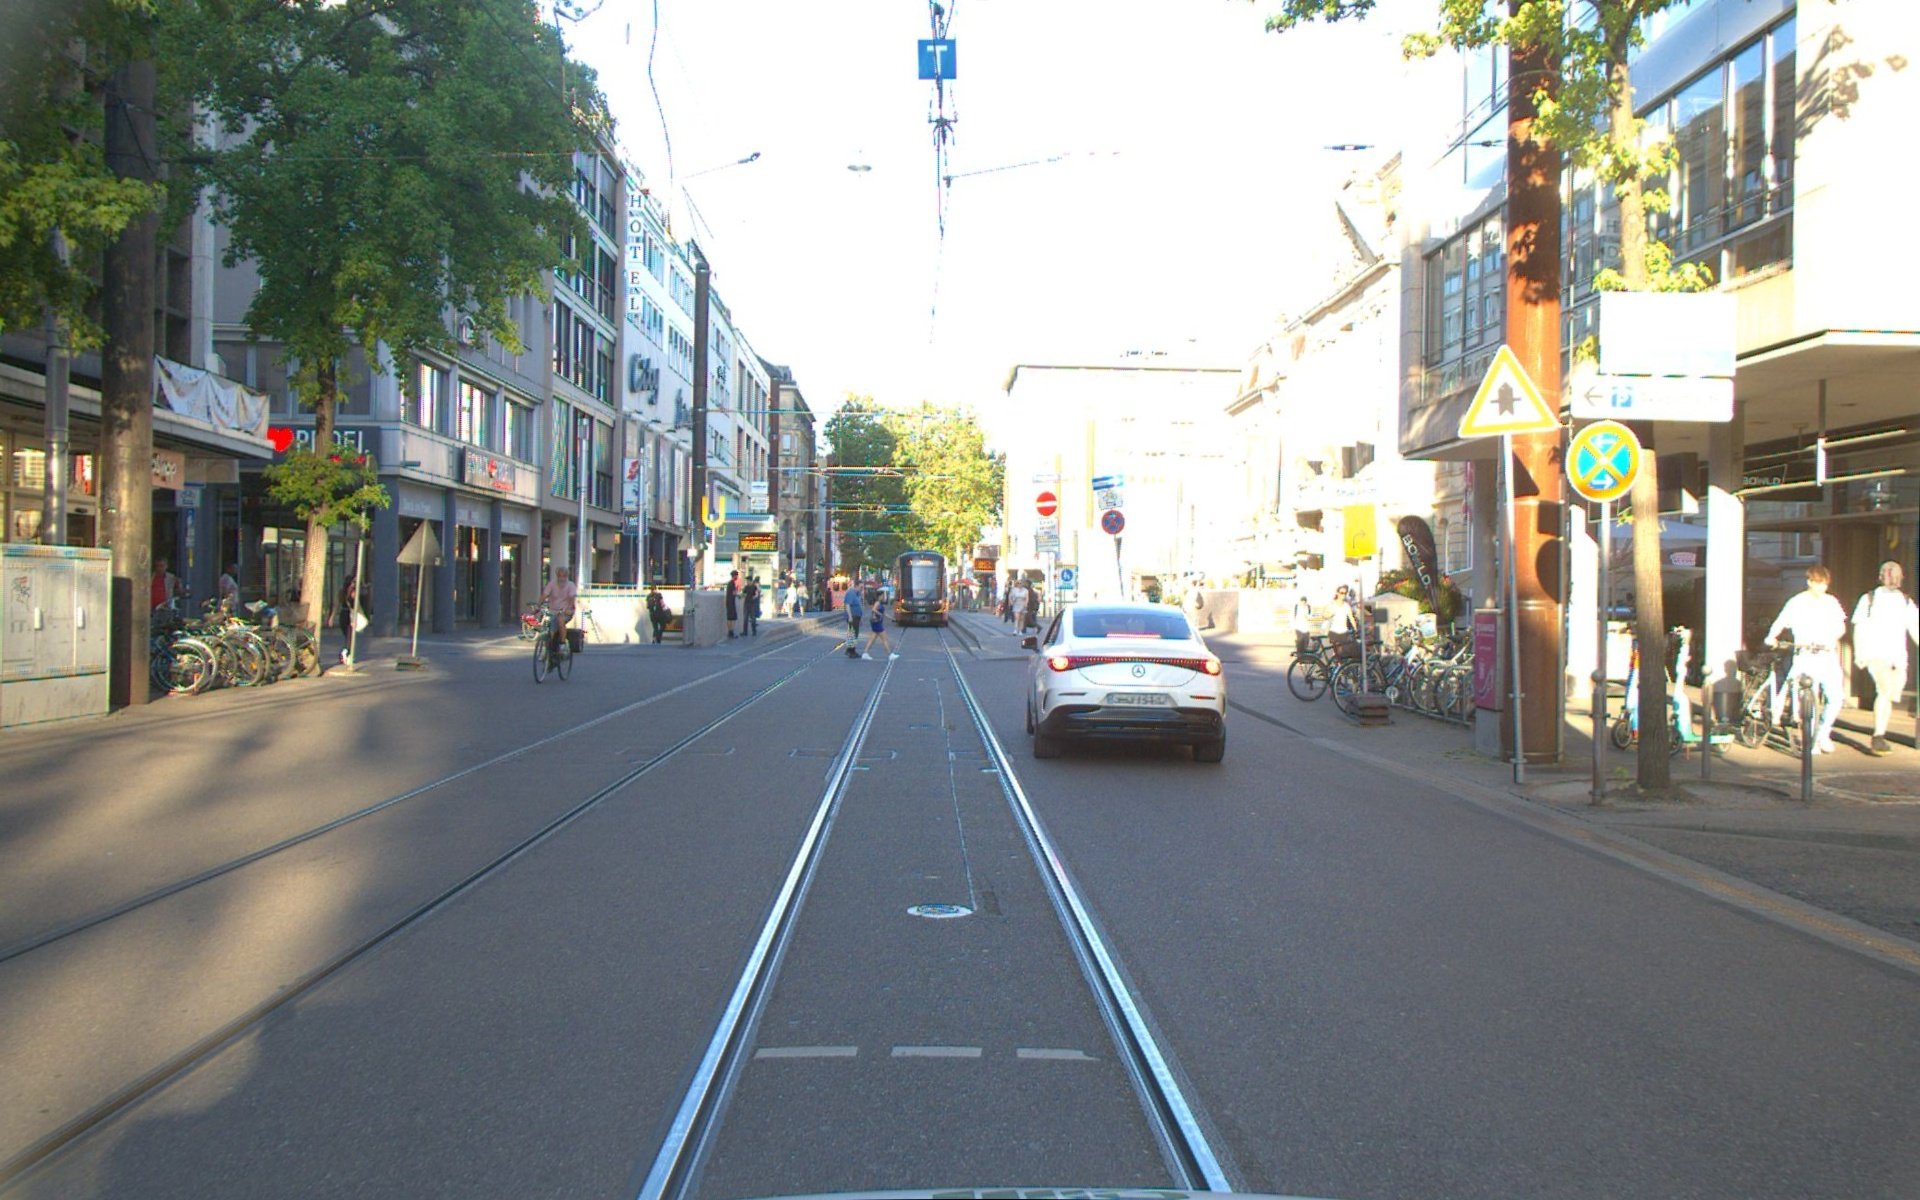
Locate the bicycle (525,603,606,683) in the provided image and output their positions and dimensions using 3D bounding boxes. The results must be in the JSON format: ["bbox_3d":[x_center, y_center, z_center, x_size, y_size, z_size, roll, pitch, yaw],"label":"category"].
[{"bbox_3d":[-6.180,0.648,26.007,0.784,1.162,2.256,2,0,-3],"label":"bicycle"}]

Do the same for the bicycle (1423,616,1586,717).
[{"bbox_3d":[6.774,0.813,20.596,1.875,1.177,0.608,-1,0,-13],"label":"bicycle"}]

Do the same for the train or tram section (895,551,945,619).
[{"bbox_3d":[-2.257,-0.847,94.263,2.640,3.578,12.541,1,0,-1],"label":"train or tram section"}]

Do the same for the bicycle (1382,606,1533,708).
[{"bbox_3d":[6.706,0.747,22.307,1.875,1.303,0.608,-1,0,-13],"label":"bicycle"}]

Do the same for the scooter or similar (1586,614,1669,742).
[{"bbox_3d":[7.055,0.813,17.498,0.518,1.299,0.658,-1,0,-13],"label":"scooter or similar"}]

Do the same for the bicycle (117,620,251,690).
[{"bbox_3d":[-9.605,0.677,20.494,1.462,0.797,0.344,2,0,0],"label":"bicycle"}]

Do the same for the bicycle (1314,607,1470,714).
[{"bbox_3d":[5.574,0.768,21.370,1.875,1.303,0.608,-1,0,-13],"label":"bicycle"}]

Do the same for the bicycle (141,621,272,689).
[{"bbox_3d":[-9.494,0.692,20.860,1.462,0.797,0.344,2,0,0],"label":"bicycle"}]

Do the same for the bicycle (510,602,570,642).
[{"bbox_3d":[-11.104,0.564,43.780,0.703,1.027,2.041,1,0,12],"label":"bicycle"}]

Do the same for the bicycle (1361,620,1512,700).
[{"bbox_3d":[6.838,0.844,23.749,2.078,1.115,0.607,0,0,-15],"label":"bicycle"}]

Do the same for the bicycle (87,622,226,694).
[{"bbox_3d":[-9.603,0.688,19.775,1.462,0.797,0.344,2,0,0],"label":"bicycle"}]

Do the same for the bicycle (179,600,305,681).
[{"bbox_3d":[-9.616,0.546,22.184,1.466,1.027,0.343,2,0,-12],"label":"bicycle"}]

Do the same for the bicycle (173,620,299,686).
[{"bbox_3d":[-9.447,0.685,21.590,1.462,0.797,0.344,2,0,0],"label":"bicycle"}]

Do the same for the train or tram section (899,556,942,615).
[{"bbox_3d":[-2.531,-0.921,106.098,2.640,3.578,11.140,1,0,-1],"label":"train or tram section"}]

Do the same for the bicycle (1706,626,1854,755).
[{"bbox_3d":[8.088,0.860,16.403,0.553,1.147,1.930,-1,0,2],"label":"bicycle"}]

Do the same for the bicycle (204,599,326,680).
[{"bbox_3d":[-9.495,0.542,22.626,1.466,1.047,0.343,2,0,-12],"label":"bicycle"}]

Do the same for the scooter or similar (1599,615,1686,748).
[{"bbox_3d":[6.910,0.808,16.771,0.518,1.299,0.658,-1,0,-13],"label":"scooter or similar"}]

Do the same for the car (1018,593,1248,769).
[{"bbox_3d":[1.598,0.702,16.629,1.819,1.480,4.175,2,0,0],"label":"car"}]

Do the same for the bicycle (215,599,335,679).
[{"bbox_3d":[-9.514,0.541,23.000,1.466,1.047,0.343,2,0,-12],"label":"bicycle"}]

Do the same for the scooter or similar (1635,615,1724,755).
[{"bbox_3d":[6.946,0.808,15.984,0.483,1.299,0.658,-1,0,-13],"label":"scooter or similar"}]

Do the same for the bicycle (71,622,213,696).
[{"bbox_3d":[-9.598,0.686,19.420,1.462,0.797,0.344,2,0,0],"label":"bicycle"}]

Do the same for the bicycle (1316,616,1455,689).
[{"bbox_3d":[6.699,0.821,26.030,2.077,1.115,0.608,0,0,-13],"label":"bicycle"}]

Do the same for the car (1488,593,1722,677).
[{"bbox_3d":[11.942,0.631,30.723,3.729,1.499,1.647,1,0,-7],"label":"car"}]

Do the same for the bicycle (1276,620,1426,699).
[{"bbox_3d":[5.746,0.868,24.323,2.077,1.115,0.608,1,0,-13],"label":"bicycle"}]

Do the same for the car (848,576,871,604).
[{"bbox_3d":[-9.162,-0.931,150.771,1.871,2.504,5.274,1,0,-1],"label":"car"}]

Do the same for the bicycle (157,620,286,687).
[{"bbox_3d":[-9.470,0.684,21.230,1.462,0.797,0.344,2,0,0],"label":"bicycle"}]

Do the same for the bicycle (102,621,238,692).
[{"bbox_3d":[-9.606,0.686,20.134,1.462,0.797,0.344,2,0,0],"label":"bicycle"}]

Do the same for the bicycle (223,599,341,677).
[{"bbox_3d":[-9.568,0.541,23.371,1.466,1.047,0.343,2,0,-12],"label":"bicycle"}]

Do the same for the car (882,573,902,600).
[{"bbox_3d":[-7.546,-1.502,182.866,2.056,2.948,5.274,1,0,-1],"label":"car"}]

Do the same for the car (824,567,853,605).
[{"bbox_3d":[-9.647,-1.122,131.968,1.953,2.948,5.274,1,0,-1],"label":"car"}]

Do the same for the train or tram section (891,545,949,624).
[{"bbox_3d":[-1.974,-0.764,81.716,2.640,3.578,12.541,1,0,-1],"label":"train or tram section"}]
